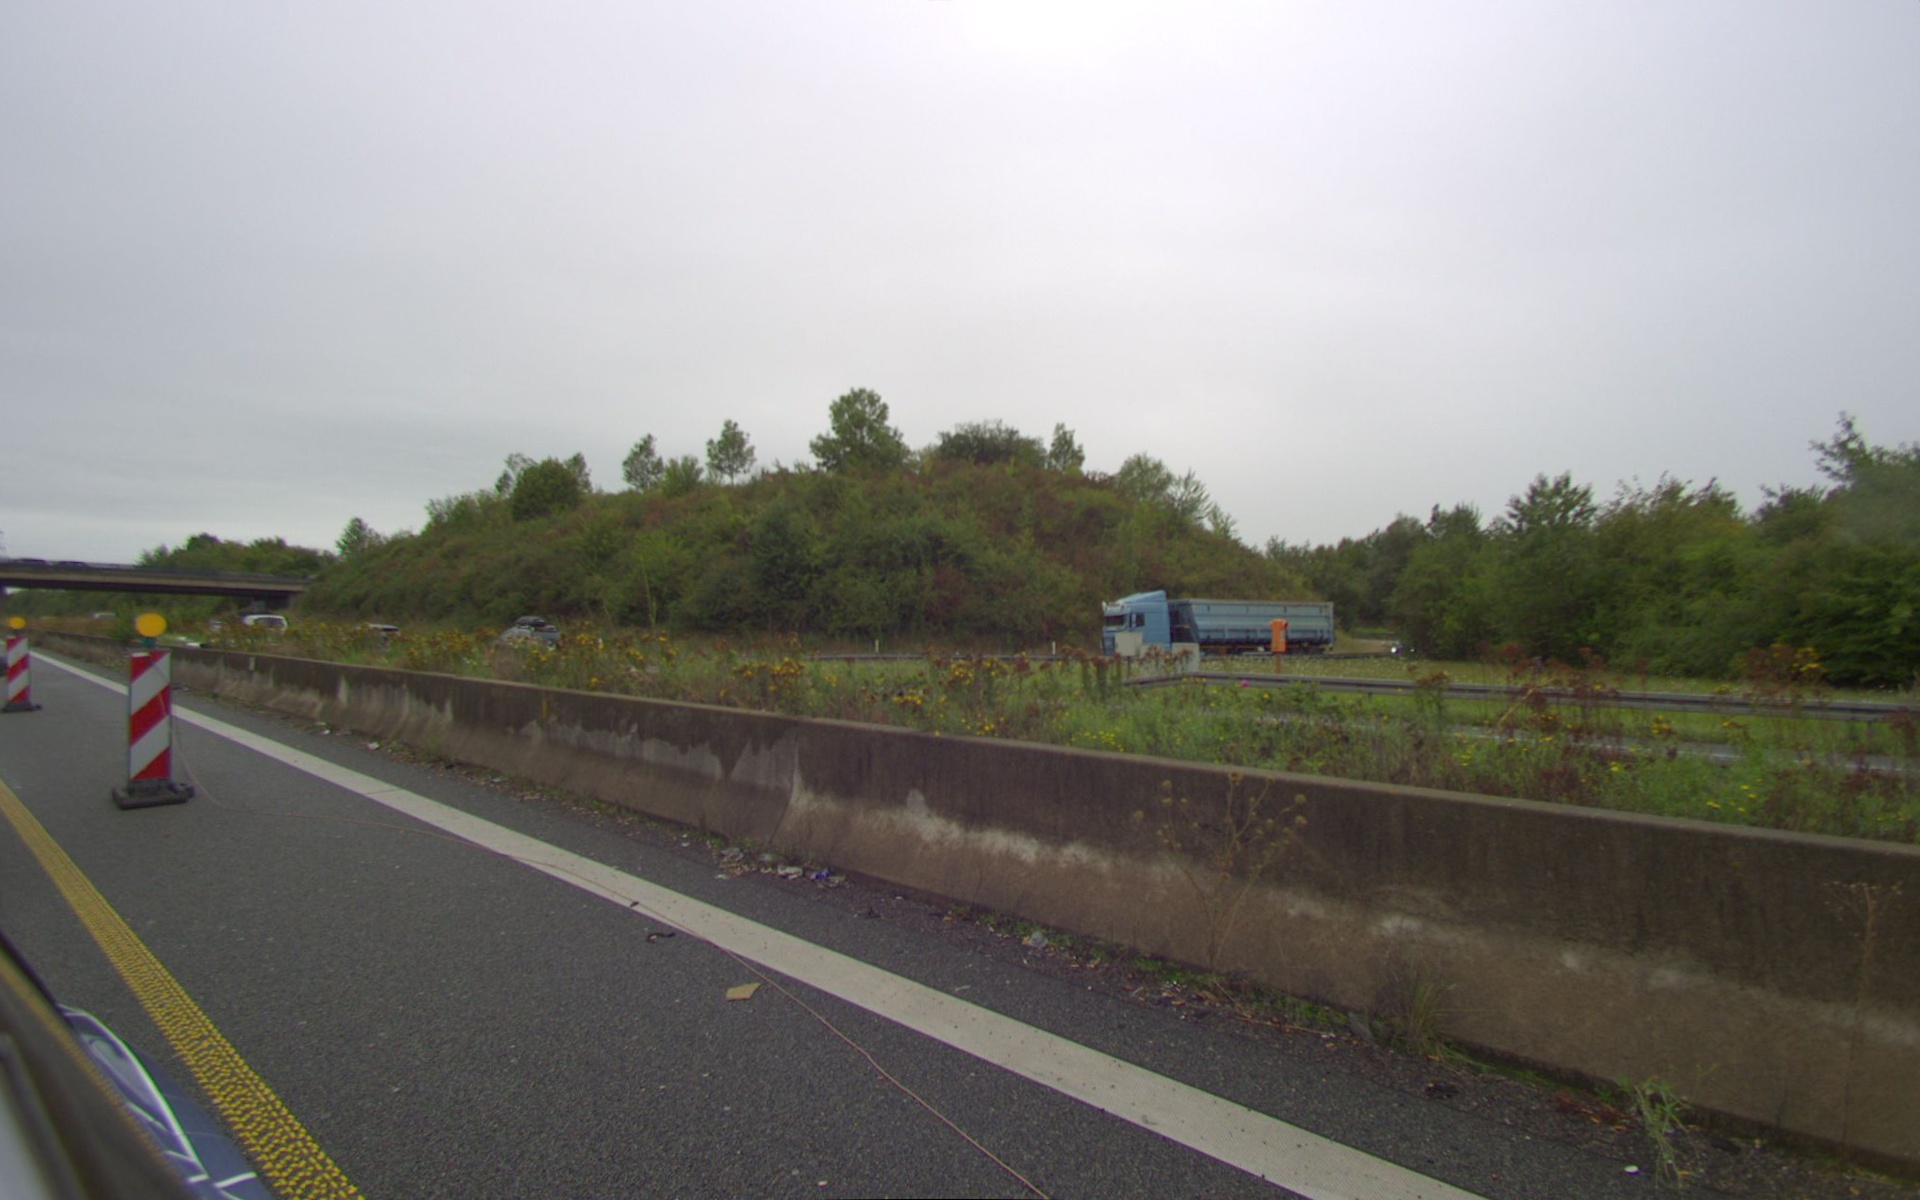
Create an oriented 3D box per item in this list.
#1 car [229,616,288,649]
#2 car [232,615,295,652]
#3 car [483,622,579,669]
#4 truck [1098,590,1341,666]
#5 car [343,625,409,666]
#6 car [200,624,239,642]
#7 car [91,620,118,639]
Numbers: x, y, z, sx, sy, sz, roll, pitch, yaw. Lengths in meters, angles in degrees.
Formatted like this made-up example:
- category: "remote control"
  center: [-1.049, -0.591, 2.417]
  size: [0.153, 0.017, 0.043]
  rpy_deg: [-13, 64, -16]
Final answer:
- category: "car"
  center: [-37.538, 1.749, 54.107]
  size: [4.002, 1.662, 1.847]
  rpy_deg: [-2, -3, 45]
- category: "car"
  center: [-37.305, 1.749, 54.204]
  size: [4.000, 1.815, 1.972]
  rpy_deg: [0, 0, 43]
- category: "car"
  center: [-17.593, 1.830, 41.429]
  size: [4.228, 1.803, 1.972]
  rpy_deg: [-2, -3, 42]
- category: "truck"
  center: [13.891, 1.546, 53.204]
  size: [14.329, 3.647, 2.910]
  rpy_deg: [1, -2, -29]
- category: "car"
  center: [-24.268, 1.855, 42.039]
  size: [3.662, 1.543, 1.436]
  rpy_deg: [0, 0, 44]
- category: "car"
  center: [-63.314, 2.801, 86.523]
  size: [4.109, 1.491, 1.972]
  rpy_deg: [-2, -3, 43]
- category: "car"
  center: [-111.472, 3.876, 131.863]
  size: [5.886, 2.459, 2.214]
  rpy_deg: [-2, -3, 45]
